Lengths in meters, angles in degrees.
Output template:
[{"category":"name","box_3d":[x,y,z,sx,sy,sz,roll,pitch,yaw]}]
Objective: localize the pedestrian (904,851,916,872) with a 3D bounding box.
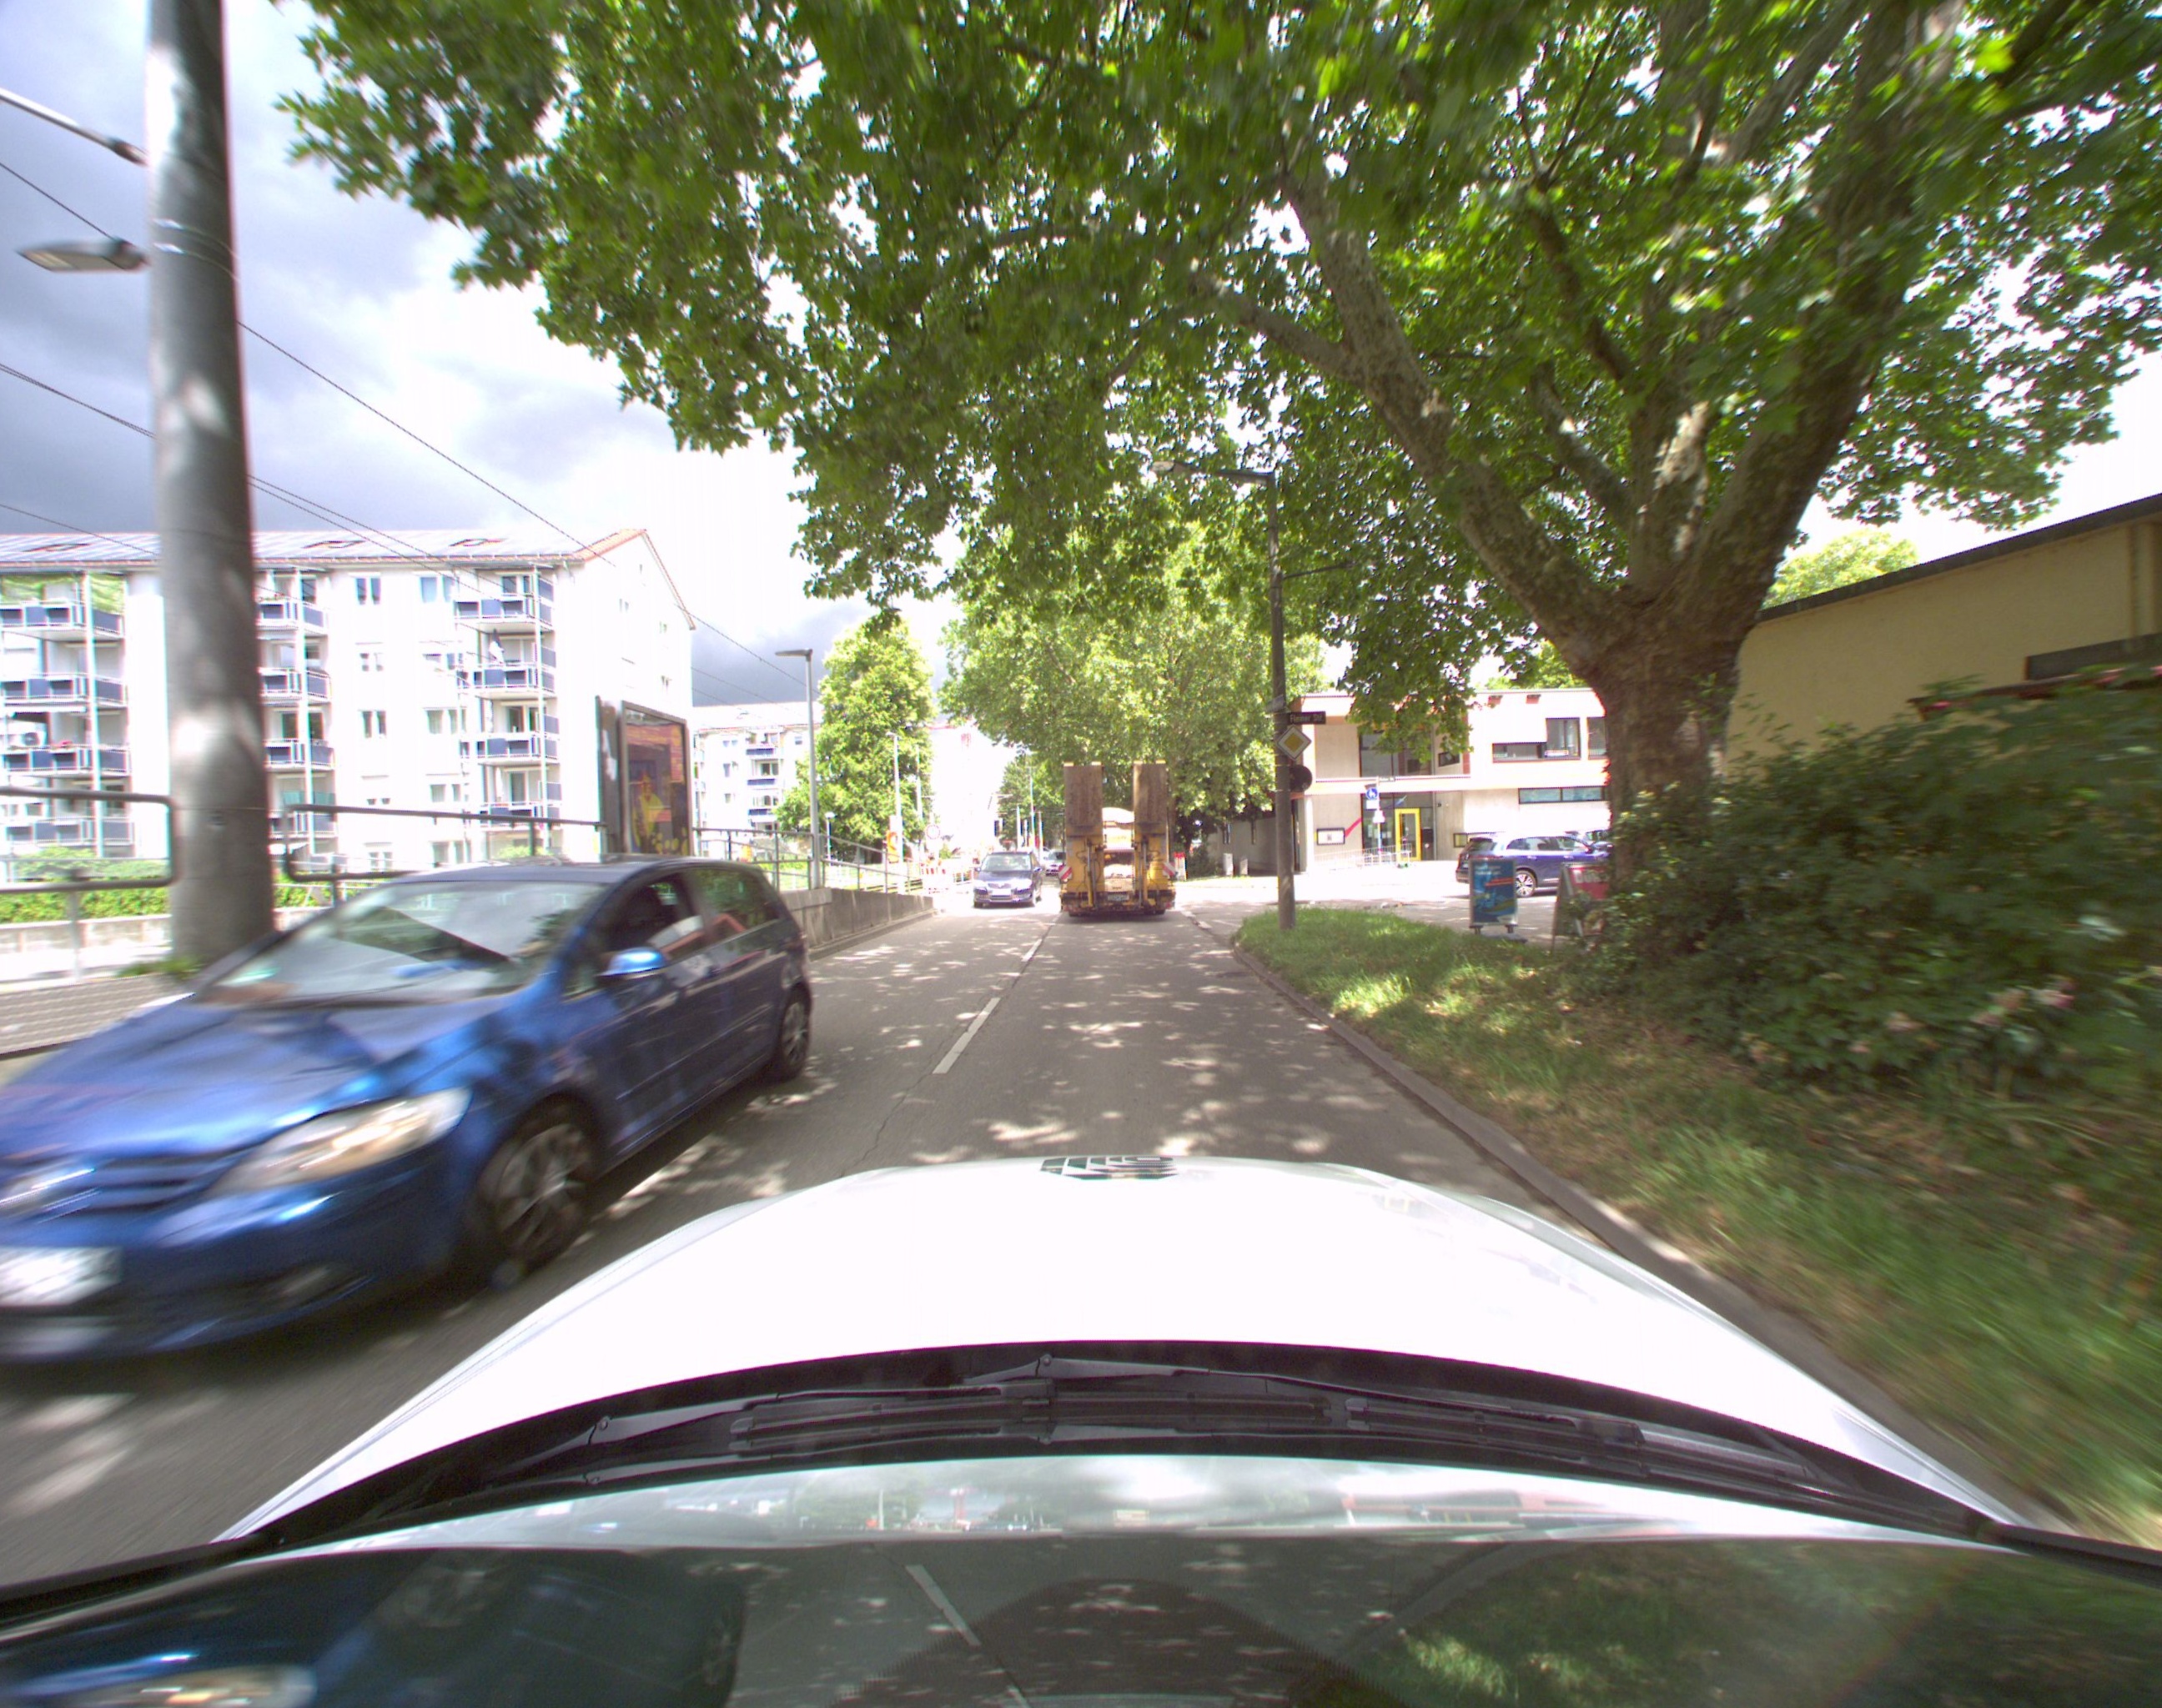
[{"category":"pedestrian","box_3d":[-13.224,0.563,62.945,0.729,1.625,0.867,-2,0,2]}]

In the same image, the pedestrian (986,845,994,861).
[{"category":"pedestrian","box_3d":[-11.101,-0.117,99.142,0.834,1.867,0.885,-1,0,-10]}]

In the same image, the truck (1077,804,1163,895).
[{"category":"truck","box_3d":[1.643,-0.176,32.601,2.976,3.135,7.896,-1,0,4]}]

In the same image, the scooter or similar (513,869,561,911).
[{"category":"scooter or similar","box_3d":[-17.460,1.153,26.148,1.288,1.253,0.467,-2,0,11]}]

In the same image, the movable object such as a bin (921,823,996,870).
[{"category":"movable object such as a bin","box_3d":[-14.877,-0.908,98.560,9.115,5.414,2.680,-1,0,28]}]

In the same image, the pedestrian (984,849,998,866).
[{"category":"pedestrian","box_3d":[-9.402,0.347,85.148,1.117,1.715,0.877,-1,0,-43]}]

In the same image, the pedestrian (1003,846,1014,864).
[{"category":"pedestrian","box_3d":[-7.534,0.104,84.651,0.890,1.867,0.830,-1,0,-27]}]

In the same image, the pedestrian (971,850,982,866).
[{"category":"pedestrian","box_3d":[-11.185,0.404,87.002,0.891,1.645,0.891,-1,0,-29]}]

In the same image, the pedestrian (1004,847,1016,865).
[{"category":"pedestrian","box_3d":[-7.634,0.200,87.300,0.877,1.867,0.842,-1,0,30]}]

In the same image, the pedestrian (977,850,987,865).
[{"category":"pedestrian","box_3d":[-10.867,0.376,89.448,0.888,1.645,0.831,-1,0,-21]}]

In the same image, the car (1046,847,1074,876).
[{"category":"car","box_3d":[-1.374,0.462,55.009,1.748,1.840,4.645,-1,0,0]}]

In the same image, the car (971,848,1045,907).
[{"category":"car","box_3d":[-2.114,0.657,24.578,1.747,1.633,4.120,0,0,1]}]

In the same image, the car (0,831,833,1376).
[{"category":"car","box_3d":[-2.813,0.746,4.315,1.690,1.564,3.862,-1,0,1]}]

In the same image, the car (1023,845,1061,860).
[{"category":"car","box_3d":[-5.470,-0.168,115.156,5.094,2.102,1.968,-1,0,-13]}]

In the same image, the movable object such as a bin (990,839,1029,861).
[{"category":"movable object such as a bin","box_3d":[-9.088,-0.509,102.928,4.325,2.629,2.234,-1,0,28]}]

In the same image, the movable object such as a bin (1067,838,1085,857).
[{"category":"movable object such as a bin","box_3d":[-0.491,-0.756,89.745,1.389,2.013,2.565,-1,0,13]}]

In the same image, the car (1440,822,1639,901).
[{"category":"car","box_3d":[12.088,0.154,21.611,4.175,1.681,2.008,-4,1,-7]}]

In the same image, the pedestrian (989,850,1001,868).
[{"category":"pedestrian","box_3d":[-8.759,0.495,83.147,0.877,1.760,0.842,-1,0,22]}]

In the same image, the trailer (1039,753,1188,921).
[{"category":"trailer","box_3d":[1.053,-0.373,23.090,3.140,3.552,11.107,-1,0,4]}]

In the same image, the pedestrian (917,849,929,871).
[{"category":"pedestrian","box_3d":[-12.305,0.475,63.472,0.697,1.718,0.867,-1,0,2]}]
